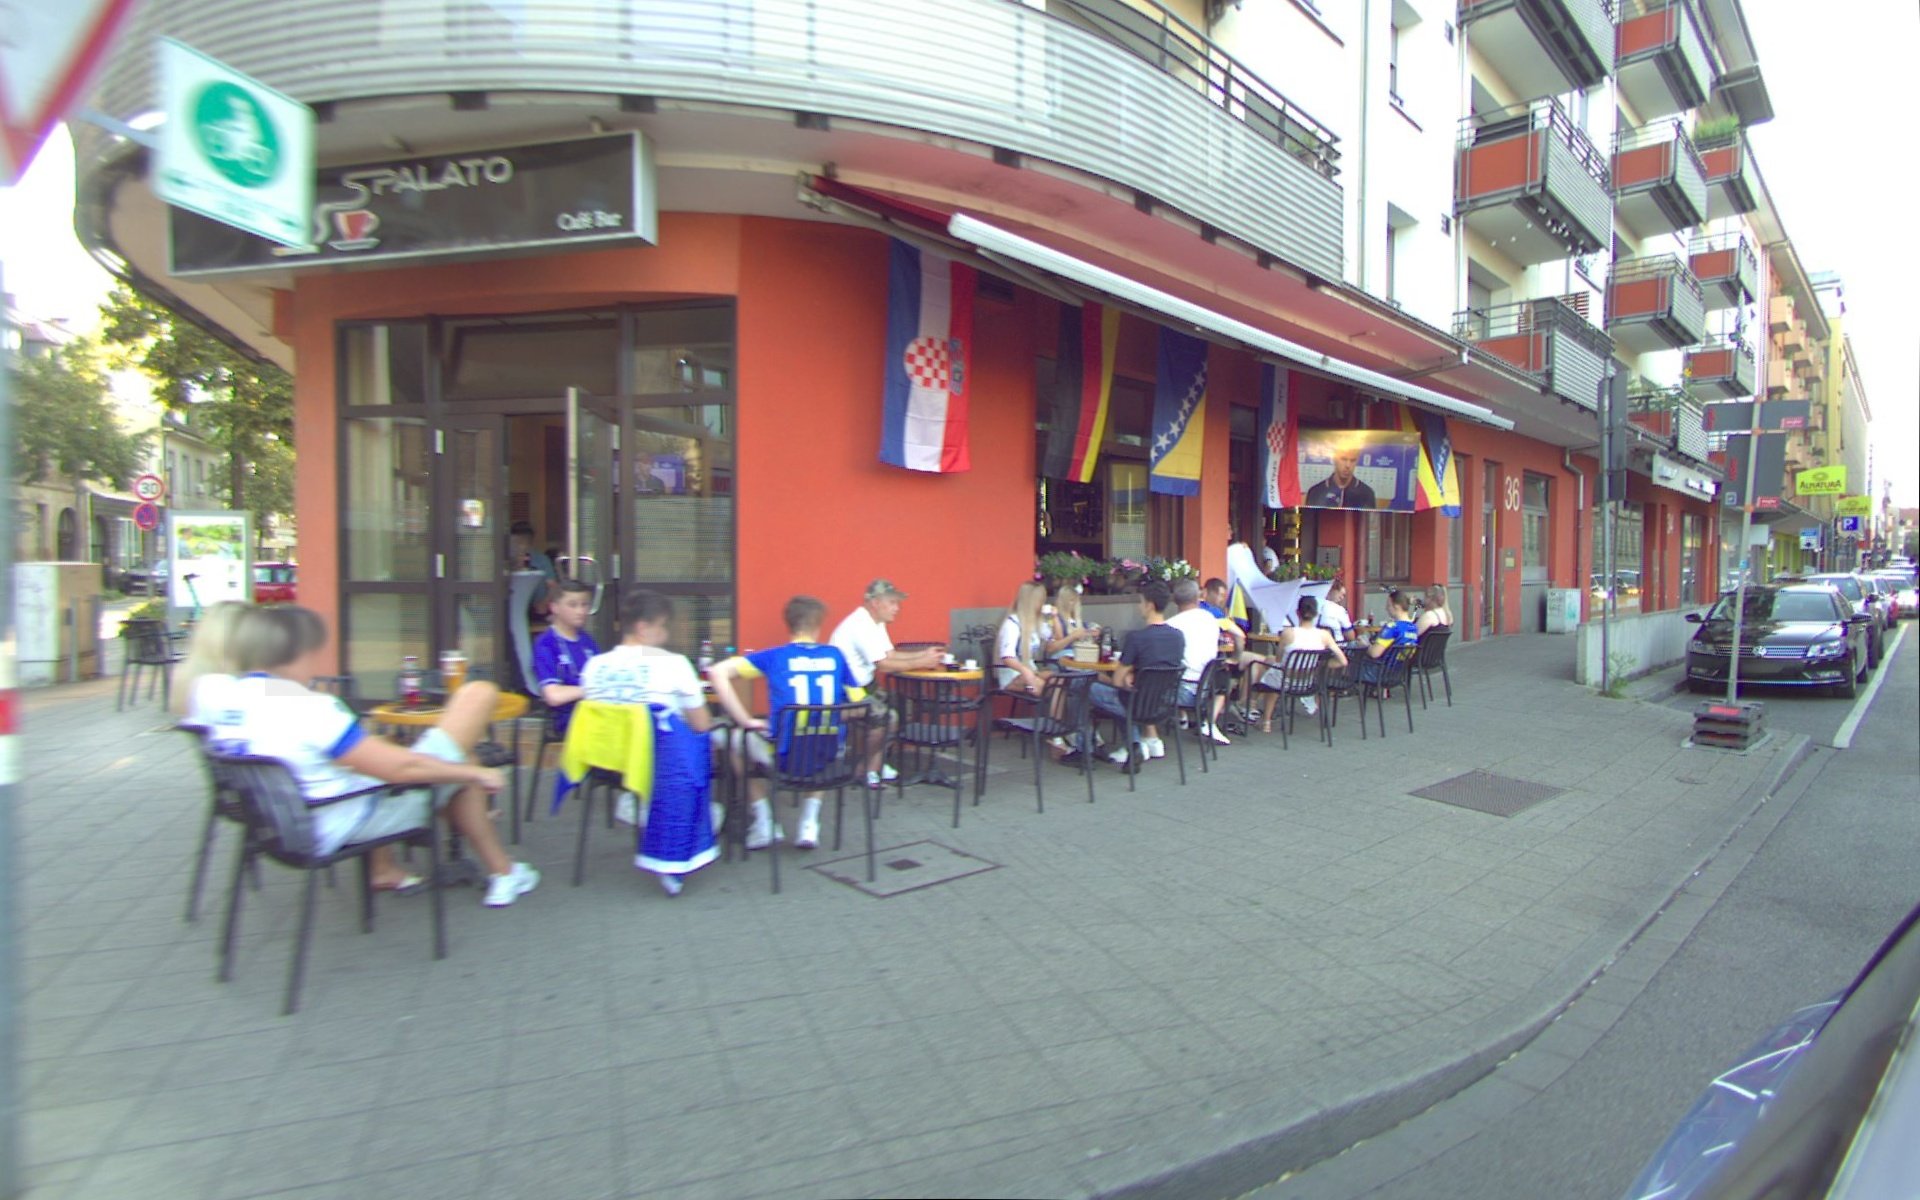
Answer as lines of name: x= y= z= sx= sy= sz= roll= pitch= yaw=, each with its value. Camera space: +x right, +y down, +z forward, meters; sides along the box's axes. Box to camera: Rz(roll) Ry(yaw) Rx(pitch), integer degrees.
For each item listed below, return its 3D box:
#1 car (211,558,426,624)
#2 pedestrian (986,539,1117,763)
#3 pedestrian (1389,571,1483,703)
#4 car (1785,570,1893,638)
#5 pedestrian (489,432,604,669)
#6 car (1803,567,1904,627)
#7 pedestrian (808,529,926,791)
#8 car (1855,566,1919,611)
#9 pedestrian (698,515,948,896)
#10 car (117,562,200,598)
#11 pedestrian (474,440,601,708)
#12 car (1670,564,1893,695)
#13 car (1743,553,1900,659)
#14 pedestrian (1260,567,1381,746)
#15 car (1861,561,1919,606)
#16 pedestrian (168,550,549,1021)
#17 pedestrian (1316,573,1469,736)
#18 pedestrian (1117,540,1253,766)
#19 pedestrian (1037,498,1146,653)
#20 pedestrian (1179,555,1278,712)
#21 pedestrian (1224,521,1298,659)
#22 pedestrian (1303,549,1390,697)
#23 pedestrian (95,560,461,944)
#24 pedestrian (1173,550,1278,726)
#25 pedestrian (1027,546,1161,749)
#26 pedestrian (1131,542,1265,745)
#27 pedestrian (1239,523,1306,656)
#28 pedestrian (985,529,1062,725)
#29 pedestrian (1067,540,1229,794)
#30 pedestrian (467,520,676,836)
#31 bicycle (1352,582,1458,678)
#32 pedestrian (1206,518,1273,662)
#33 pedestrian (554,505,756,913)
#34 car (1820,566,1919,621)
car: x=-16.149 y=-0.273 z=25.765 sx=4.352 sy=1.560 sz=1.821 roll=-1 pitch=2 yaw=-23
pedestrian: x=0.676 y=0.339 z=7.535 sx=0.673 sy=1.554 sz=0.645 roll=4 pitch=4 yaw=42
pedestrian: x=5.033 y=0.362 z=10.753 sx=0.843 sy=1.293 sz=0.709 roll=1 pitch=4 yaw=23
car: x=20.223 y=0.046 z=23.251 sx=1.747 sy=1.421 sz=3.907 roll=0 pitch=1 yaw=42
pedestrian: x=-3.800 y=-0.439 z=9.282 sx=0.845 sy=2.039 sz=0.815 roll=-1 pitch=1 yaw=-30
car: x=23.921 y=-0.112 z=27.047 sx=3.884 sy=1.495 sz=1.764 roll=-2 pitch=1 yaw=-45
pedestrian: x=-0.606 y=0.347 z=6.431 sx=0.635 sy=1.555 sz=0.754 roll=-1 pitch=0 yaw=-13
car: x=32.627 y=-0.431 z=35.172 sx=4.229 sy=1.495 sz=1.894 roll=-2 pitch=1 yaw=-43
pedestrian: x=-0.640 y=0.411 z=4.701 sx=0.839 sy=1.554 sz=0.713 roll=-1 pitch=6 yaw=-44
car: x=-37.003 y=-0.962 z=46.845 sx=1.958 sy=1.571 sz=4.009 roll=-1 pitch=2 yaw=-22
pedestrian: x=-3.481 y=-0.211 z=8.310 sx=0.838 sy=2.038 sz=0.913 roll=-1 pitch=1 yaw=-31
car: x=11.723 y=0.302 z=14.324 sx=4.554 sy=1.571 sz=1.875 roll=-2 pitch=1 yaw=-43
car: x=15.823 y=0.048 z=18.522 sx=1.879 sy=1.721 sz=4.071 roll=0 pitch=1 yaw=45
pedestrian: x=2.962 y=0.428 z=8.318 sx=0.653 sy=1.361 sz=0.738 roll=4 pitch=4 yaw=42
car: x=36.577 y=-0.659 z=39.188 sx=4.291 sy=1.636 sz=1.997 roll=-2 pitch=1 yaw=-41
pedestrian: x=-2.038 y=0.531 z=3.523 sx=0.761 sy=1.399 sz=0.834 roll=1 pitch=3 yaw=19
pedestrian: x=3.792 y=0.436 z=8.918 sx=0.835 sy=1.321 sz=0.880 roll=-1 pitch=3 yaw=-25
pedestrian: x=1.663 y=0.351 z=7.474 sx=0.648 sy=1.545 sz=0.690 roll=6 pitch=5 yaw=41
pedestrian: x=1.801 y=-0.343 z=14.034 sx=1.126 sy=2.039 sz=1.155 roll=-1 pitch=1 yaw=-16
pedestrian: x=2.580 y=0.303 z=9.728 sx=0.712 sy=1.439 sz=0.592 roll=0 pitch=0 yaw=44
pedestrian: x=3.957 y=-0.143 z=13.305 sx=0.716 sy=1.742 sz=0.658 roll=1 pitch=1 yaw=44
pedestrian: x=4.241 y=0.239 z=11.097 sx=0.843 sy=1.555 sz=0.709 roll=-1 pitch=0 yaw=23
pedestrian: x=-2.653 y=0.506 z=4.034 sx=0.677 sy=1.297 sz=0.962 roll=1 pitch=3 yaw=20
pedestrian: x=2.318 y=0.299 z=8.844 sx=0.665 sy=1.451 sz=0.552 roll=4 pitch=3 yaw=42
pedestrian: x=1.075 y=0.339 z=8.108 sx=0.767 sy=1.522 sz=0.771 roll=1 pitch=2 yaw=42
pedestrian: x=1.950 y=0.327 z=8.300 sx=0.849 sy=1.555 sz=0.669 roll=0 pitch=0 yaw=42
pedestrian: x=4.932 y=-0.178 z=15.973 sx=0.799 sy=2.039 sz=0.670 roll=-1 pitch=1 yaw=-35
pedestrian: x=0.605 y=0.236 z=9.663 sx=0.536 sy=1.799 sz=0.514 roll=1 pitch=1 yaw=42
pedestrian: x=1.265 y=0.394 z=6.801 sx=0.712 sy=1.554 sz=0.748 roll=6 pitch=5 yaw=41
pedestrian: x=-2.062 y=0.382 z=5.470 sx=0.703 sy=1.555 sz=0.850 roll=-1 pitch=0 yaw=10
bicycle: x=5.592 y=0.338 z=12.652 sx=0.548 sy=1.101 sz=1.974 roll=0 pitch=1 yaw=44
pedestrian: x=3.544 y=-0.131 z=12.818 sx=0.610 sy=1.760 sz=0.608 roll=1 pitch=1 yaw=44
pedestrian: x=-1.319 y=0.405 z=4.318 sx=0.675 sy=1.555 sz=0.716 roll=1 pitch=1 yaw=-28
car: x=27.071 y=-0.228 z=30.059 sx=4.321 sy=1.495 sz=1.863 roll=-2 pitch=1 yaw=-43
